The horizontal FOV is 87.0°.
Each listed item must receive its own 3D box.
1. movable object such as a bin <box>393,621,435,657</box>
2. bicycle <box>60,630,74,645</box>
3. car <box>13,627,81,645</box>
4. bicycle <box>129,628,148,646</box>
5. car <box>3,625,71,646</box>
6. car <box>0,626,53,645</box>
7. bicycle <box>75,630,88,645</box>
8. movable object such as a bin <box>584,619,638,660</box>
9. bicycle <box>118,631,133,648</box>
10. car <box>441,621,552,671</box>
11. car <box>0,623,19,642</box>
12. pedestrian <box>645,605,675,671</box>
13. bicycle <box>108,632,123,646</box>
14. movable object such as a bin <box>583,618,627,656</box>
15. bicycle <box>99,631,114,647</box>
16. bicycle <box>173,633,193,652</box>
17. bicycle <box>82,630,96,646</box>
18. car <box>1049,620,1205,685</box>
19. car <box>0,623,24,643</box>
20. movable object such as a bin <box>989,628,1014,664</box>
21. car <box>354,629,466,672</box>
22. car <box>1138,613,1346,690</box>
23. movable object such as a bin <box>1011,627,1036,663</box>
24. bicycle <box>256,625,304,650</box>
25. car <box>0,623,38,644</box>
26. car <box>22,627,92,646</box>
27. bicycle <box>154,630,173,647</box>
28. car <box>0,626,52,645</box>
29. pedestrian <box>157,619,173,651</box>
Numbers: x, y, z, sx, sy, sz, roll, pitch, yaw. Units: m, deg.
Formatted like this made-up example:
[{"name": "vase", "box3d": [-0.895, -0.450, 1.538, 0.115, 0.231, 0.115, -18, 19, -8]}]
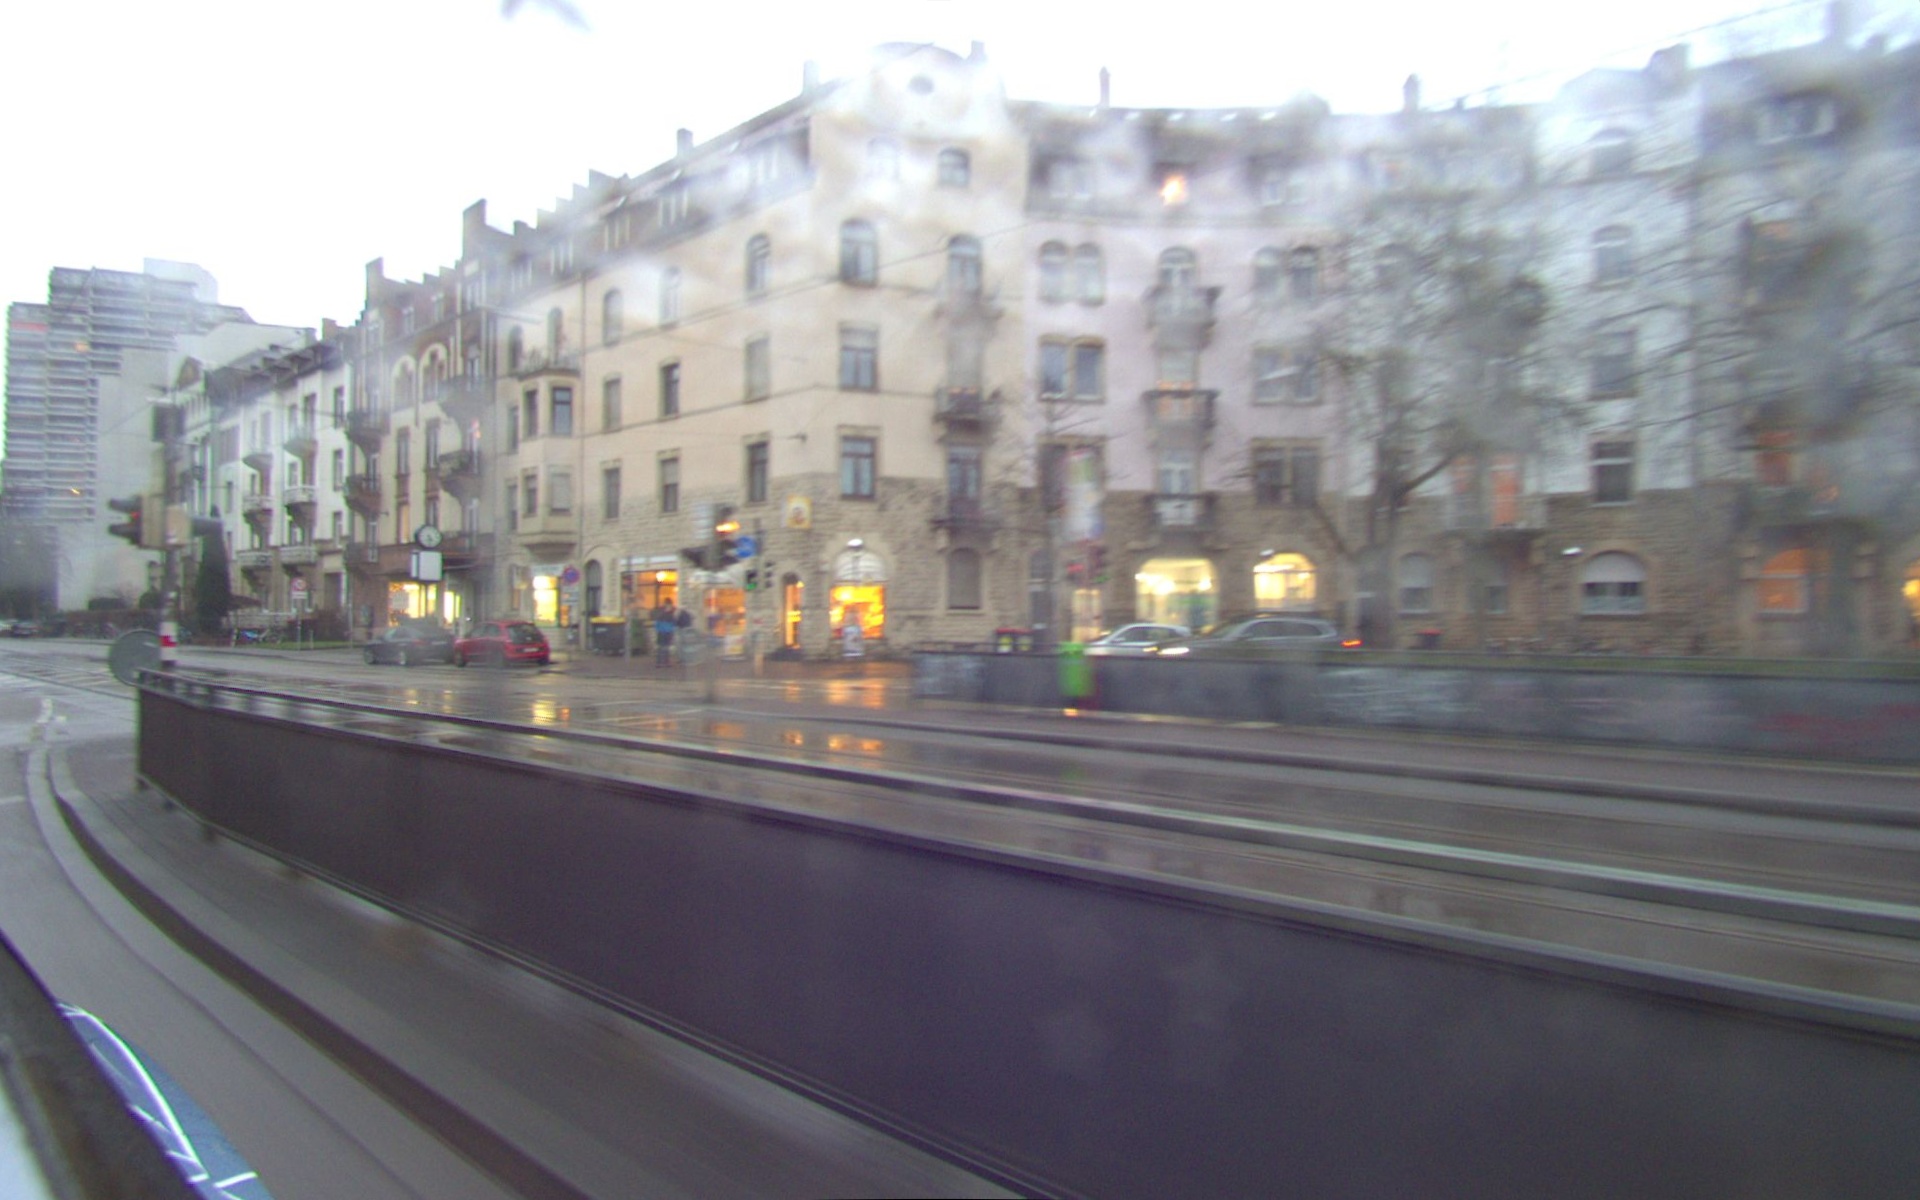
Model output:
[{"name": "movable object such as a bin", "box3d": [-23.235, 1.631, 43.067, 1.072, 1.442, 1.225, -1, 1, 38]}, {"name": "bicycle", "box3d": [-64.838, 2.728, 73.482, 1.880, 1.014, 0.463, -1, 1, 41]}, {"name": "car", "box3d": [-71.789, 2.834, 79.607, 1.726, 1.424, 3.791, -2, -2, 40]}, {"name": "bicycle", "box3d": [-49.551, 2.219, 61.054, 2.208, 1.014, 0.479, -1, 1, 41]}, {"name": "car", "box3d": [-74.066, 2.823, 81.254, 1.726, 1.424, 3.792, -1, 1, 40]}, {"name": "car", "box3d": [-78.705, 2.995, 84.765, 1.726, 1.424, 3.792, -2, 0, 40]}, {"name": "bicycle", "box3d": [-61.042, 2.585, 70.324, 1.880, 1.014, 0.429, -1, 1, 41]}, {"name": "movable object such as a bin", "box3d": [-12.695, 1.423, 36.826, 1.279, 1.382, 1.336, -1, 1, 38]}, {"name": "bicycle", "box3d": [-52.190, 2.461, 63.295, 1.711, 1.014, 0.429, -1, 1, 41]}, {"name": "car", "box3d": [-15.488, 1.508, 33.808, 3.669, 1.527, 1.659, -1, 1, 34]}, {"name": "car", "box3d": [-92.184, 3.156, 96.171, 1.726, 1.730, 3.792, -1, 1, 40]}, {"name": "pedestrian", "box3d": [-8.912, 1.116, 30.101, 0.784, 1.892, 0.897, -2, 1, -15]}, {"name": "bicycle", "box3d": [-53.689, 2.494, 64.325, 1.767, 0.838, 0.437, -1, 1, 41]}, {"name": "movable object such as a bin", "box3d": [-13.374, 1.379, 38.155, 1.273, 1.382, 0.992, -1, 1, 38]}, {"name": "bicycle", "box3d": [-55.478, 2.515, 65.779, 1.604, 1.014, 0.429, -1, 1, 41]}, {"name": "bicycle", "box3d": [-41.851, 2.284, 54.516, 2.086, 0.947, 0.523, -1, 1, 44]}, {"name": "bicycle", "box3d": [-59.464, 2.575, 69.082, 1.880, 1.014, 0.429, -1, 1, 41]}, {"name": "car", "box3d": [4.385, 1.375, 26.861, 3.770, 1.483, 1.615, -2, 1, -3]}, {"name": "car", "box3d": [-89.256, 3.122, 93.509, 1.726, 1.730, 3.792, -1, 1, 40]}, {"name": "movable object such as a bin", "box3d": [1.331, 1.475, 32.497, 0.638, 1.144, 0.694, 0, -2, -14]}, {"name": "car", "box3d": [-20.026, 1.796, 36.793, 4.500, 1.400, 1.786, -1, 1, 36]}, {"name": "car", "box3d": [6.627, 1.178, 24.015, 4.275, 1.595, 1.940, -1, 0, -8]}, {"name": "movable object such as a bin", "box3d": [2.032, 1.450, 32.620, 0.638, 1.144, 0.655, 0, -2, -14]}, {"name": "bicycle", "box3d": [-35.494, 1.935, 52.829, 0.530, 1.167, 1.965, -1, 1, 38]}, {"name": "car", "box3d": [-86.694, 3.096, 92.191, 1.726, 1.730, 3.792, -2, 1, 40]}, {"name": "car", "box3d": [-69.618, 2.804, 78.042, 1.726, 1.424, 3.791, -1, -1, 40]}, {"name": "bicycle", "box3d": [-45.357, 2.192, 57.620, 2.210, 0.896, 0.523, -1, 1, 44]}, {"name": "car", "box3d": [-81.779, 3.074, 88.091, 1.726, 1.424, 3.792, -1, 1, 40]}, {"name": "pedestrian", "box3d": [-42.807, 1.886, 54.462, 0.449, 1.654, 0.566, -1, 1, 43]}]
